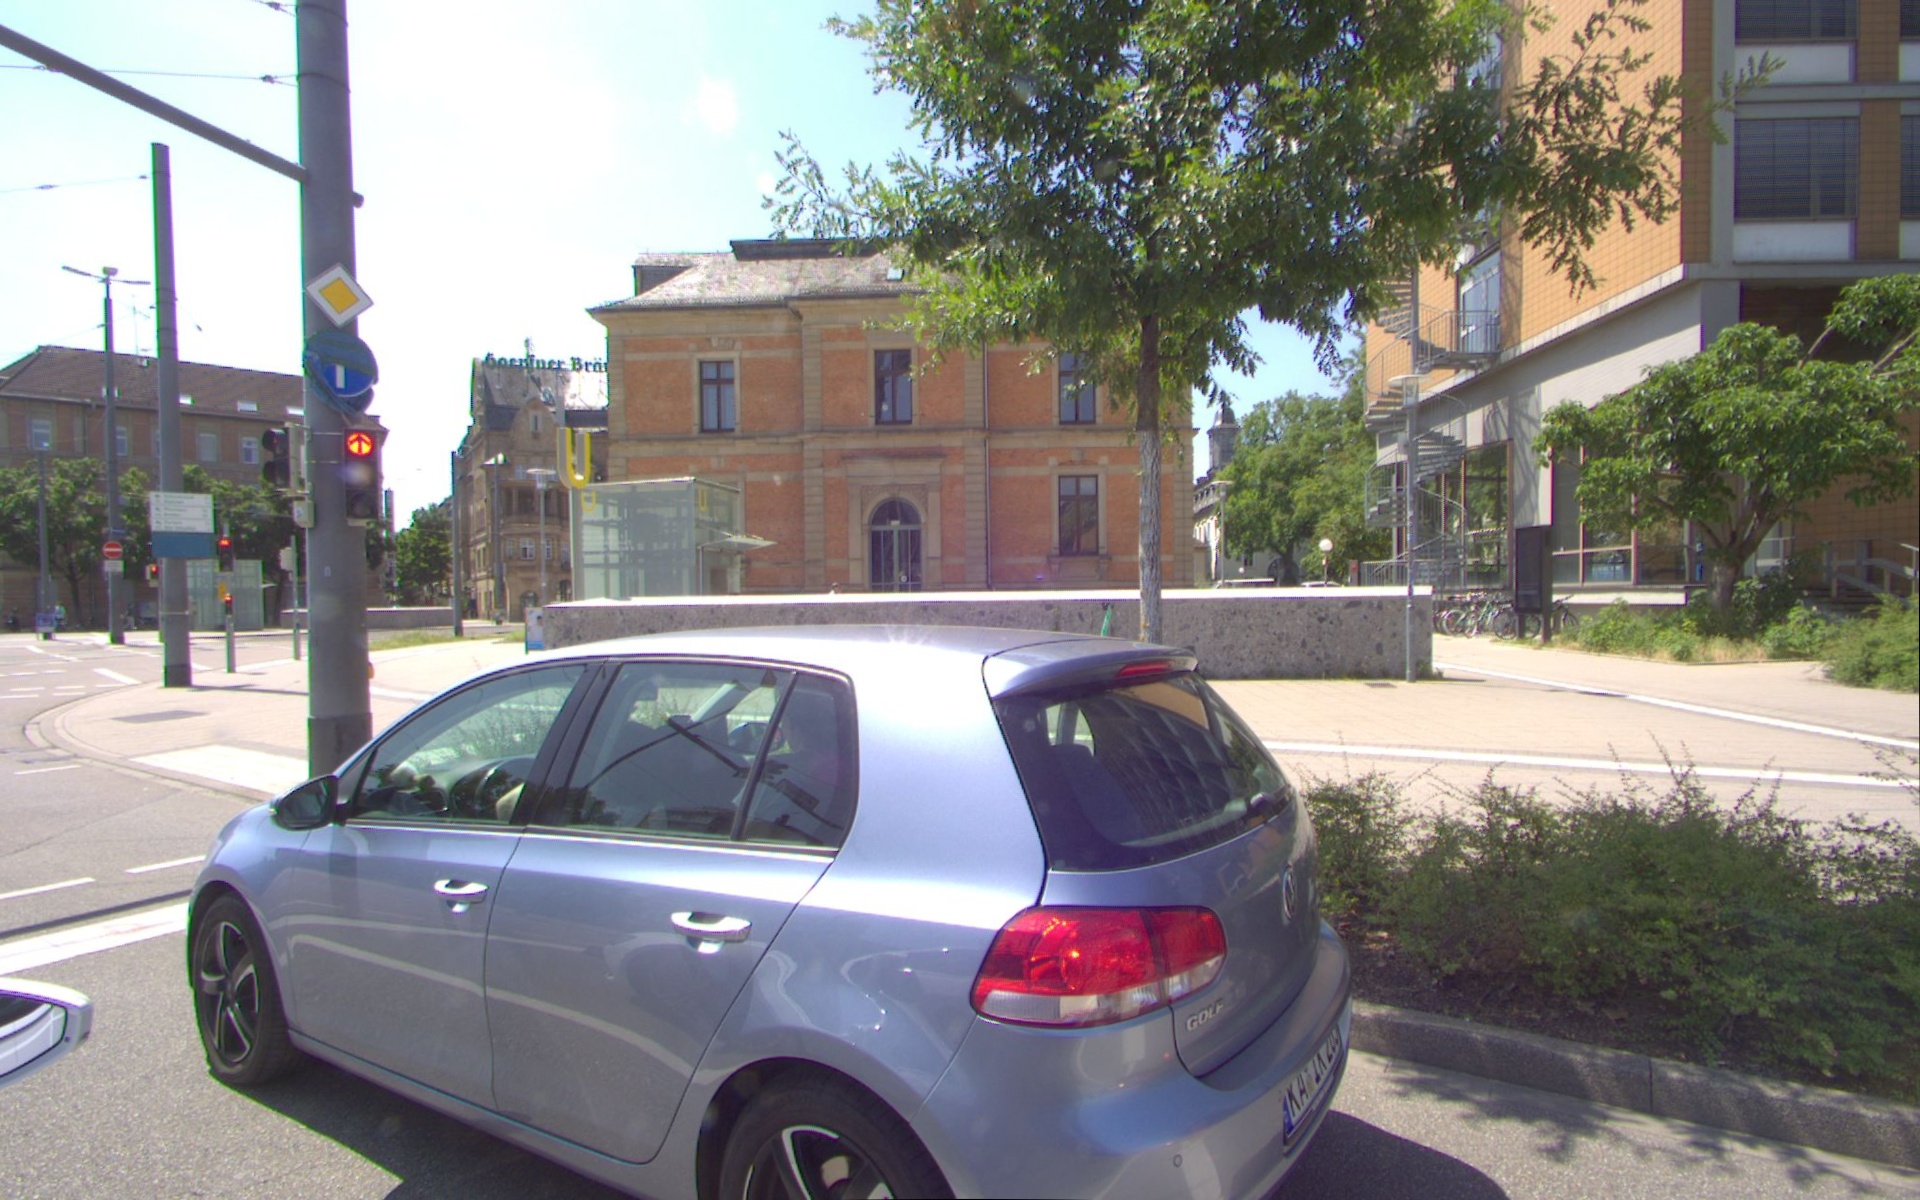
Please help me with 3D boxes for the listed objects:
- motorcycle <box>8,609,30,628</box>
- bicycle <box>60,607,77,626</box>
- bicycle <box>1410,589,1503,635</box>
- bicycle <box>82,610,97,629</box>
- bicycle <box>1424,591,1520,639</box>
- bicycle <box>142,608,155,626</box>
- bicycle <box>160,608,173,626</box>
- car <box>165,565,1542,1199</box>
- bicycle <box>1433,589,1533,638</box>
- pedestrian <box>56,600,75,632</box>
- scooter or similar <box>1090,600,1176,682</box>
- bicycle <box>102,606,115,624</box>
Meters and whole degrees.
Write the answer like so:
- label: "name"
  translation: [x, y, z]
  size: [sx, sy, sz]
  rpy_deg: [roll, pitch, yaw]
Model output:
- label: "motorcycle"
  translation: [-56.151, 1.094, 59.752]
  size: [1.920, 1.089, 0.578]
  rpy_deg: [0, 1, 36]
- label: "bicycle"
  translation: [-55.266, 1.014, 62.078]
  size: [2.069, 1.160, 0.440]
  rpy_deg: [-2, -2, 39]
- label: "bicycle"
  translation: [13.500, 0.333, 27.259]
  size: [2.175, 1.234, 0.637]
  rpy_deg: [0, -1, 5]
- label: "bicycle"
  translation: [-54.233, 1.221, 62.406]
  size: [0.546, 1.135, 1.807]
  rpy_deg: [-1, 1, -36]
- label: "bicycle"
  translation: [13.522, 0.411, 26.496]
  size: [2.175, 1.234, 0.637]
  rpy_deg: [0, -1, 5]
- label: "bicycle"
  translation: [-52.558, 1.111, 64.855]
  size: [0.547, 1.135, 1.854]
  rpy_deg: [-1, 1, -41]
- label: "bicycle"
  translation: [-52.004, 1.113, 65.637]
  size: [0.547, 1.135, 1.912]
  rpy_deg: [-1, 1, -41]
- label: "car"
  translation: [-0.560, 0.731, 2.999]
  size: [3.946, 1.478, 1.648]
  rpy_deg: [0, -1, 32]
- label: "bicycle"
  translation: [13.439, 0.363, 25.760]
  size: [2.175, 1.234, 0.637]
  rpy_deg: [0, -1, 5]
- label: "pedestrian"
  translation: [-49.506, 0.874, 55.429]
  size: [0.628, 1.731, 0.462]
  rpy_deg: [0, 1, 14]
- label: "scooter or similar"
  translation: [2.558, 0.596, 14.813]
  size: [1.227, 1.186, 0.458]
  rpy_deg: [0, 1, 13]
- label: "bicycle"
  translation: [-53.504, 0.948, 62.909]
  size: [0.547, 1.135, 1.804]
  rpy_deg: [-1, 1, -41]
